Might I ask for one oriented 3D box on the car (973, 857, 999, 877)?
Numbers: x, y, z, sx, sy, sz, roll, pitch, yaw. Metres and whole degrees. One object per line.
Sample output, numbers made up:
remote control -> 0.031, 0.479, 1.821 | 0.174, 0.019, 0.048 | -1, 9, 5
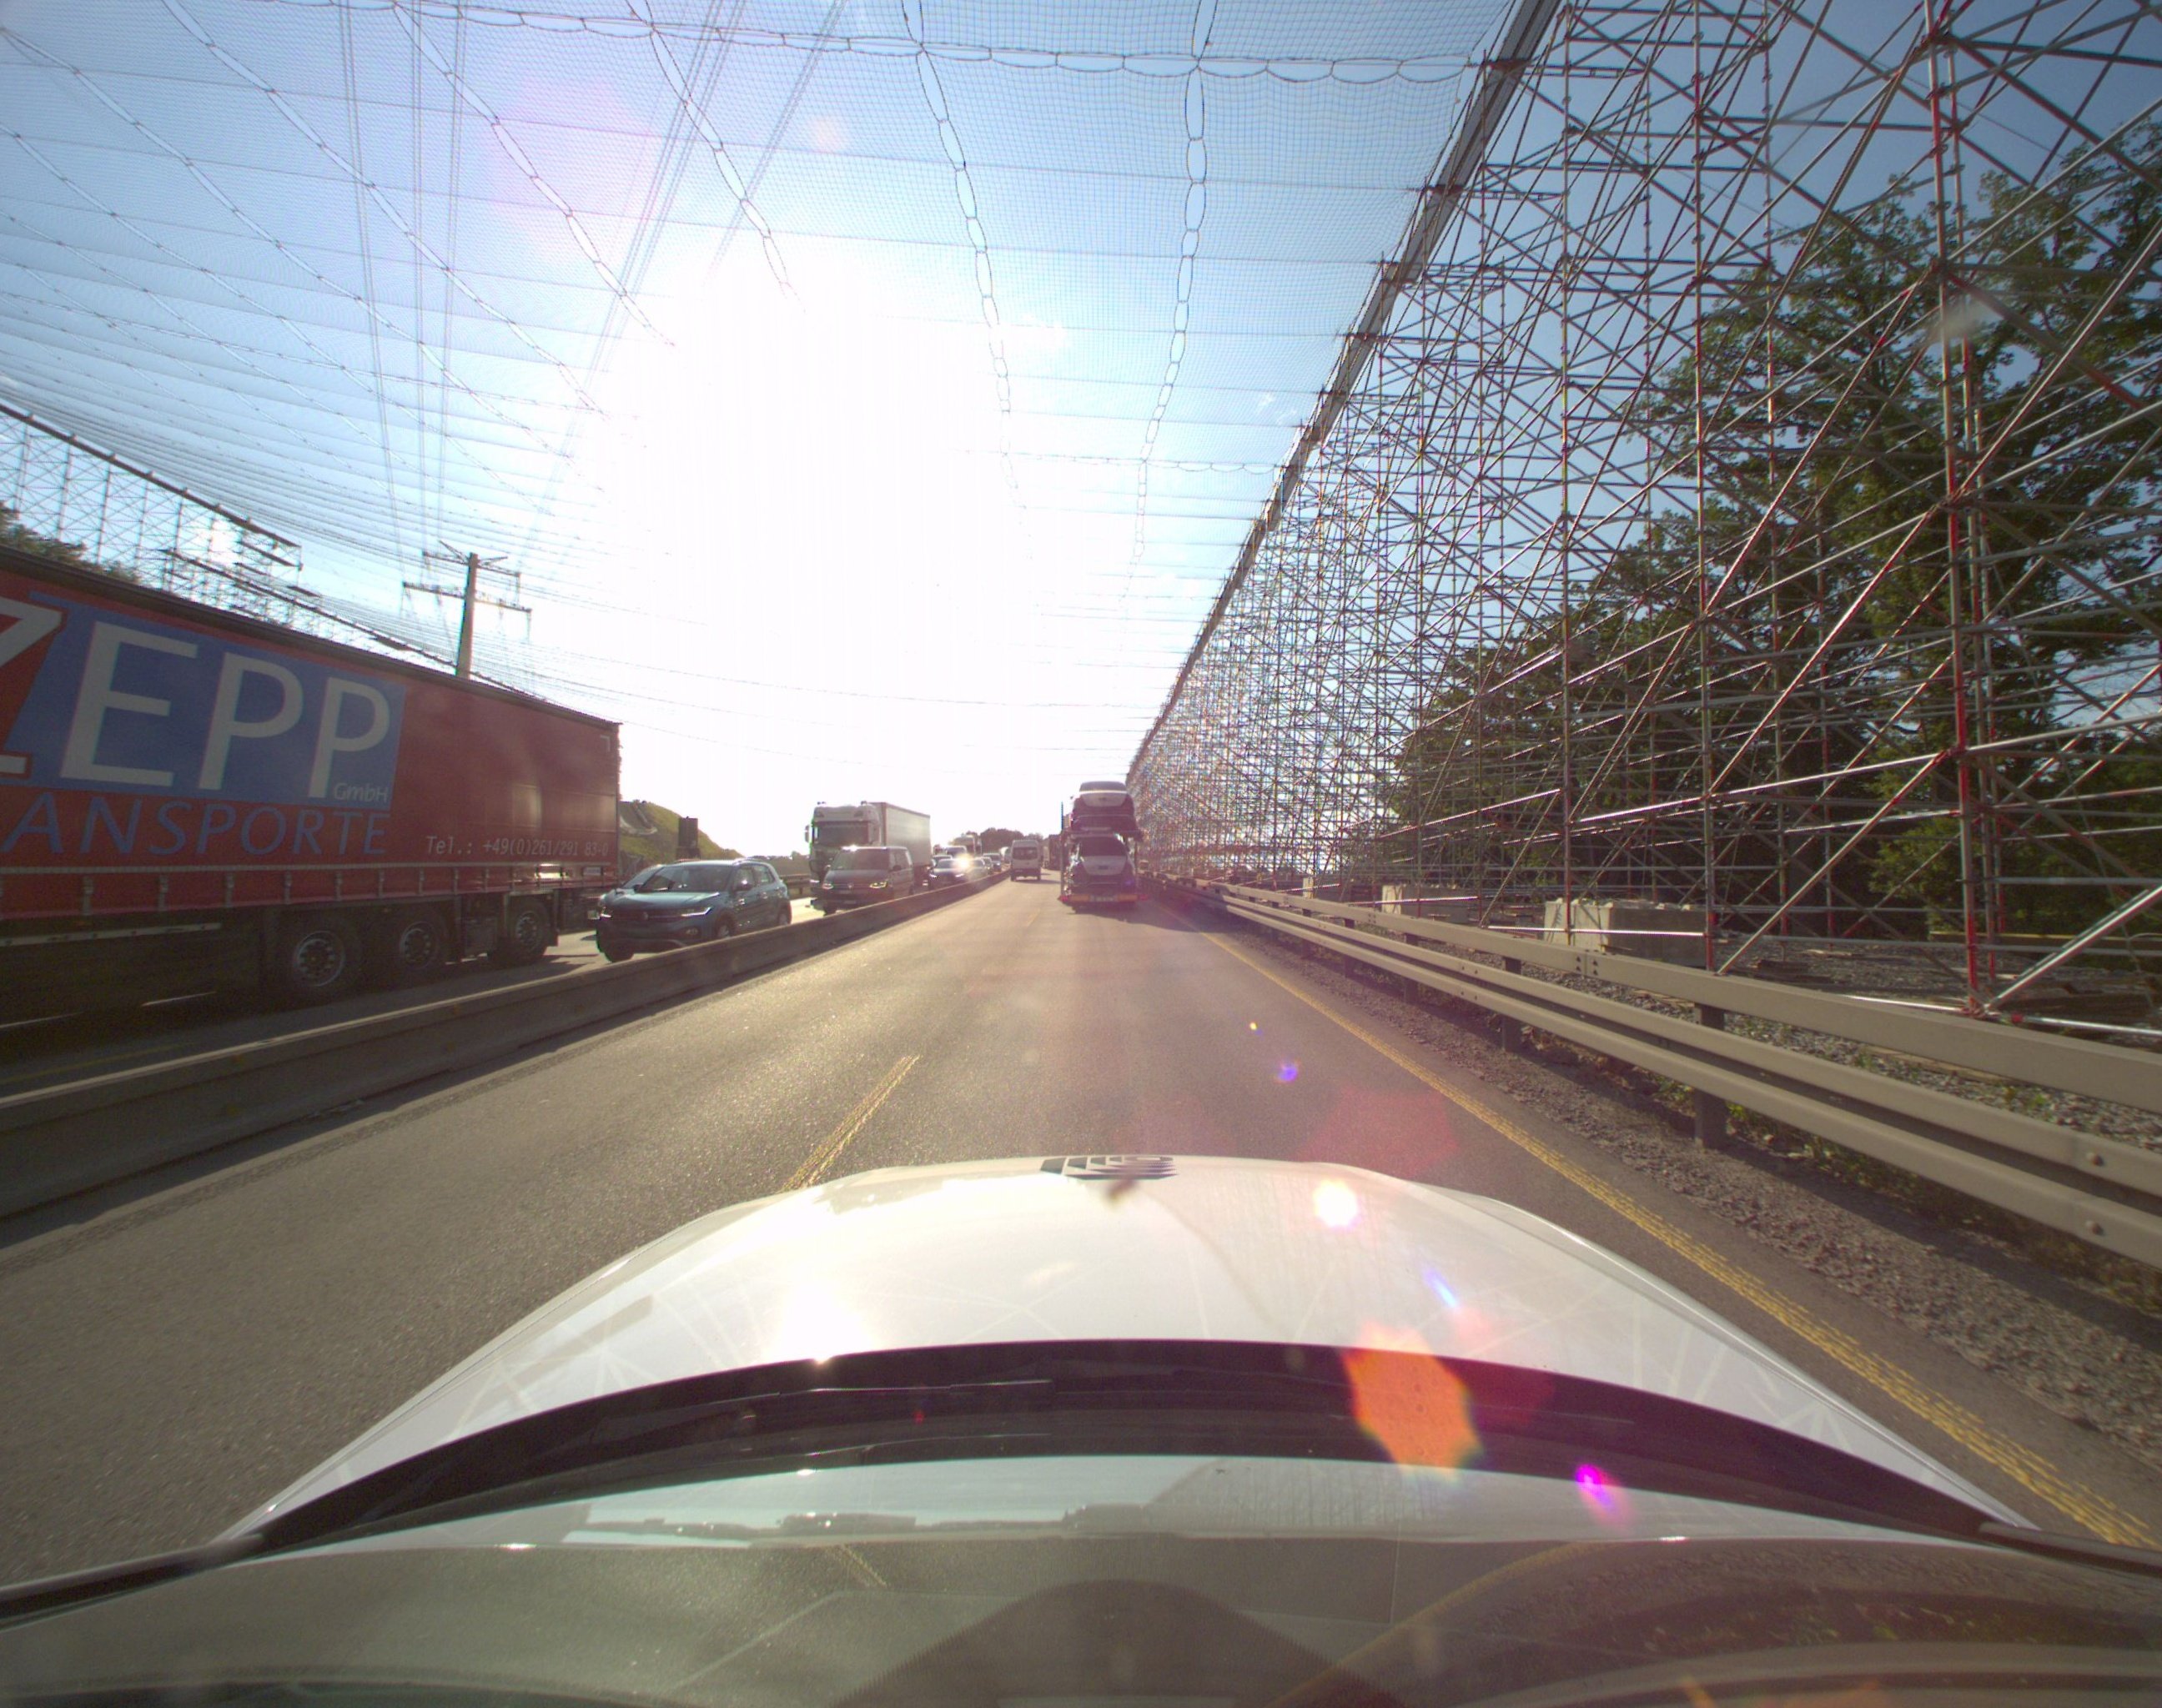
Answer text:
car -> -7.677, 1.032, 66.297 | 1.690, 1.629, 3.998 | 0, 0, -1

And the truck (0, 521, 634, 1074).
truck -> -9.494, -0.382, 7.919 | 2.779, 4.141, 13.802 | -1, -1, -1

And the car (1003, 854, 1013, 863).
car -> -12.965, 0.809, 144.718 | 1.707, 1.618, 3.498 | -1, -1, -4

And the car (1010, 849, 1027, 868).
car -> -8.675, 0.570, 112.839 | 1.992, 2.578, 3.989 | 0, 0, -8

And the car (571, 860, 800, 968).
car -> -6.344, 0.866, 13.693 | 1.737, 1.535, 4.267 | 0, 0, 0

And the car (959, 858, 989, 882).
car -> -7.118, 1.013, 54.541 | 1.738, 1.543, 4.399 | 0, 0, -4

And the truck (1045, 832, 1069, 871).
truck -> -2.838, -0.289, 96.277 | 2.725, 4.386, 11.512 | 0, 0, -2

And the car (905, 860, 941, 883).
car -> -10.197, 1.091, 52.655 | 1.661, 1.441, 3.849 | 0, 0, -2

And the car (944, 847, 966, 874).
car -> -12.204, 0.658, 79.185 | 1.992, 2.541, 3.990 | 0, 0, -7

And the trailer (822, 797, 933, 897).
trailer -> -9.866, -0.260, 41.435 | 2.647, 4.233, 13.907 | 0, 0, -2

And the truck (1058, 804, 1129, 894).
truck -> 0.563, -0.172, 37.629 | 2.872, 3.702, 7.324 | -1, -1, 0

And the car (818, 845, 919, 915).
car -> -6.375, 0.743, 25.005 | 1.869, 1.935, 4.860 | 0, 0, -1

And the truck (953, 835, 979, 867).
truck -> -13.078, -0.297, 93.507 | 2.592, 3.473, 12.363 | 0, 0, -6

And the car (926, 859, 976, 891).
car -> -6.446, 1.006, 40.820 | 1.779, 1.502, 4.751 | 0, 0, -1

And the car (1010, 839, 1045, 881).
car -> -3.504, 0.426, 53.940 | 1.949, 2.621, 4.000 | -2, -1, 1

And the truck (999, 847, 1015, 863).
truck -> -16.840, 0.234, 184.616 | 2.617, 3.723, 9.621 | 0, 0, -11

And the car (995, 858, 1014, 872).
car -> -8.345, 1.215, 89.016 | 1.836, 1.453, 3.988 | 0, 0, -9

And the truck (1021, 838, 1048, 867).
truck -> -7.598, -0.222, 131.527 | 3.682, 4.221, 13.641 | -4, 0, -5

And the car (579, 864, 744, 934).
car -> -9.725, 0.983, 19.282 | 1.716, 1.447, 4.138 | 0, 0, 0

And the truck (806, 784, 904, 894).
truck -> -9.445, -0.577, 34.721 | 2.656, 4.230, 6.097 | -1, -1, -3

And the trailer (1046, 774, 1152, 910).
trailer -> 0.531, -0.251, 30.012 | 2.859, 3.725, 14.944 | -1, -1, 0

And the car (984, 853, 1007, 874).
car -> -8.112, 0.907, 77.323 | 1.831, 1.893, 3.998 | 0, 0, -1
